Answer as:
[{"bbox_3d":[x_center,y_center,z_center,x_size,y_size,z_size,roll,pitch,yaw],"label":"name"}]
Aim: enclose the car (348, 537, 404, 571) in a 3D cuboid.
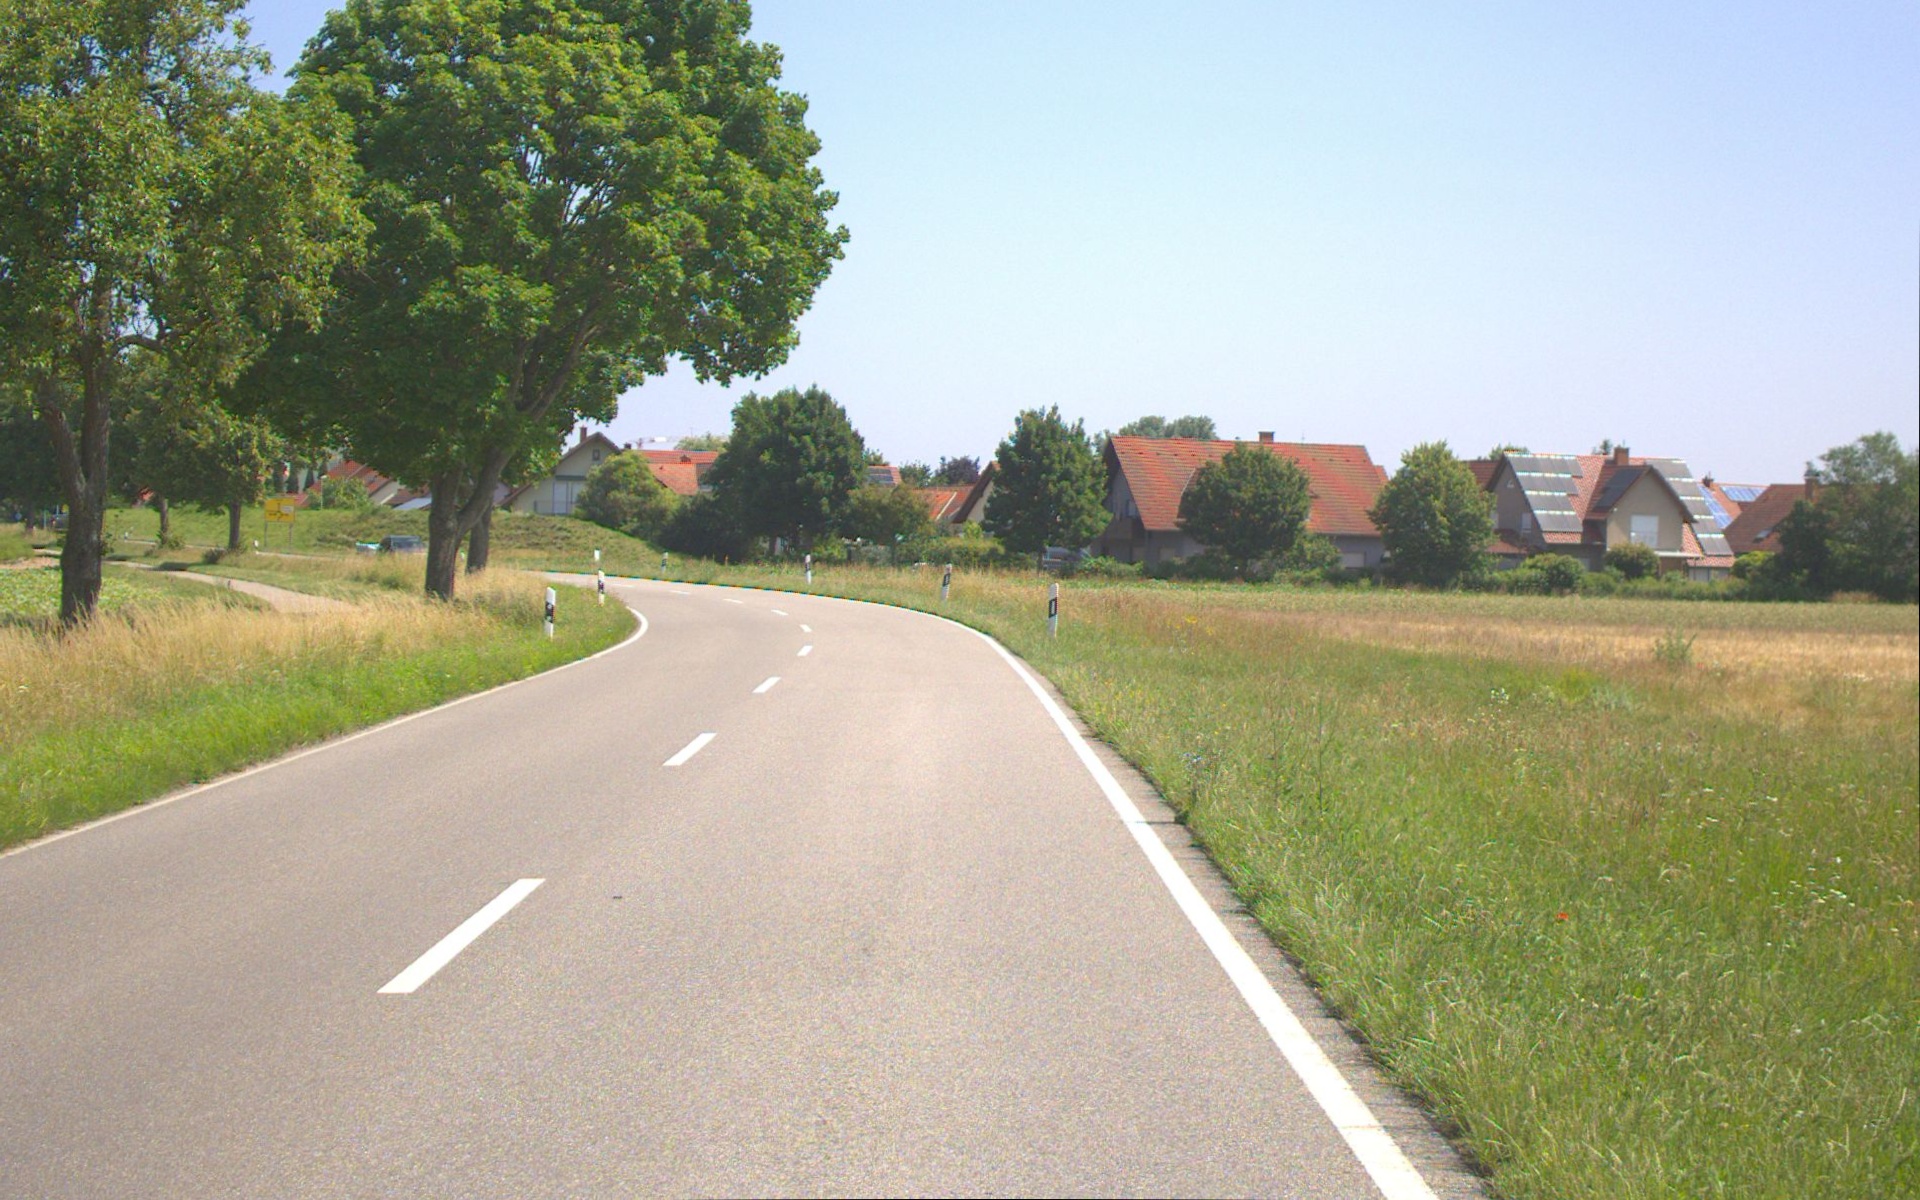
[{"bbox_3d":[-25.247,-1.985,148.551,1.643,1.424,4.181,-2,1,-20],"label":"car"}]
